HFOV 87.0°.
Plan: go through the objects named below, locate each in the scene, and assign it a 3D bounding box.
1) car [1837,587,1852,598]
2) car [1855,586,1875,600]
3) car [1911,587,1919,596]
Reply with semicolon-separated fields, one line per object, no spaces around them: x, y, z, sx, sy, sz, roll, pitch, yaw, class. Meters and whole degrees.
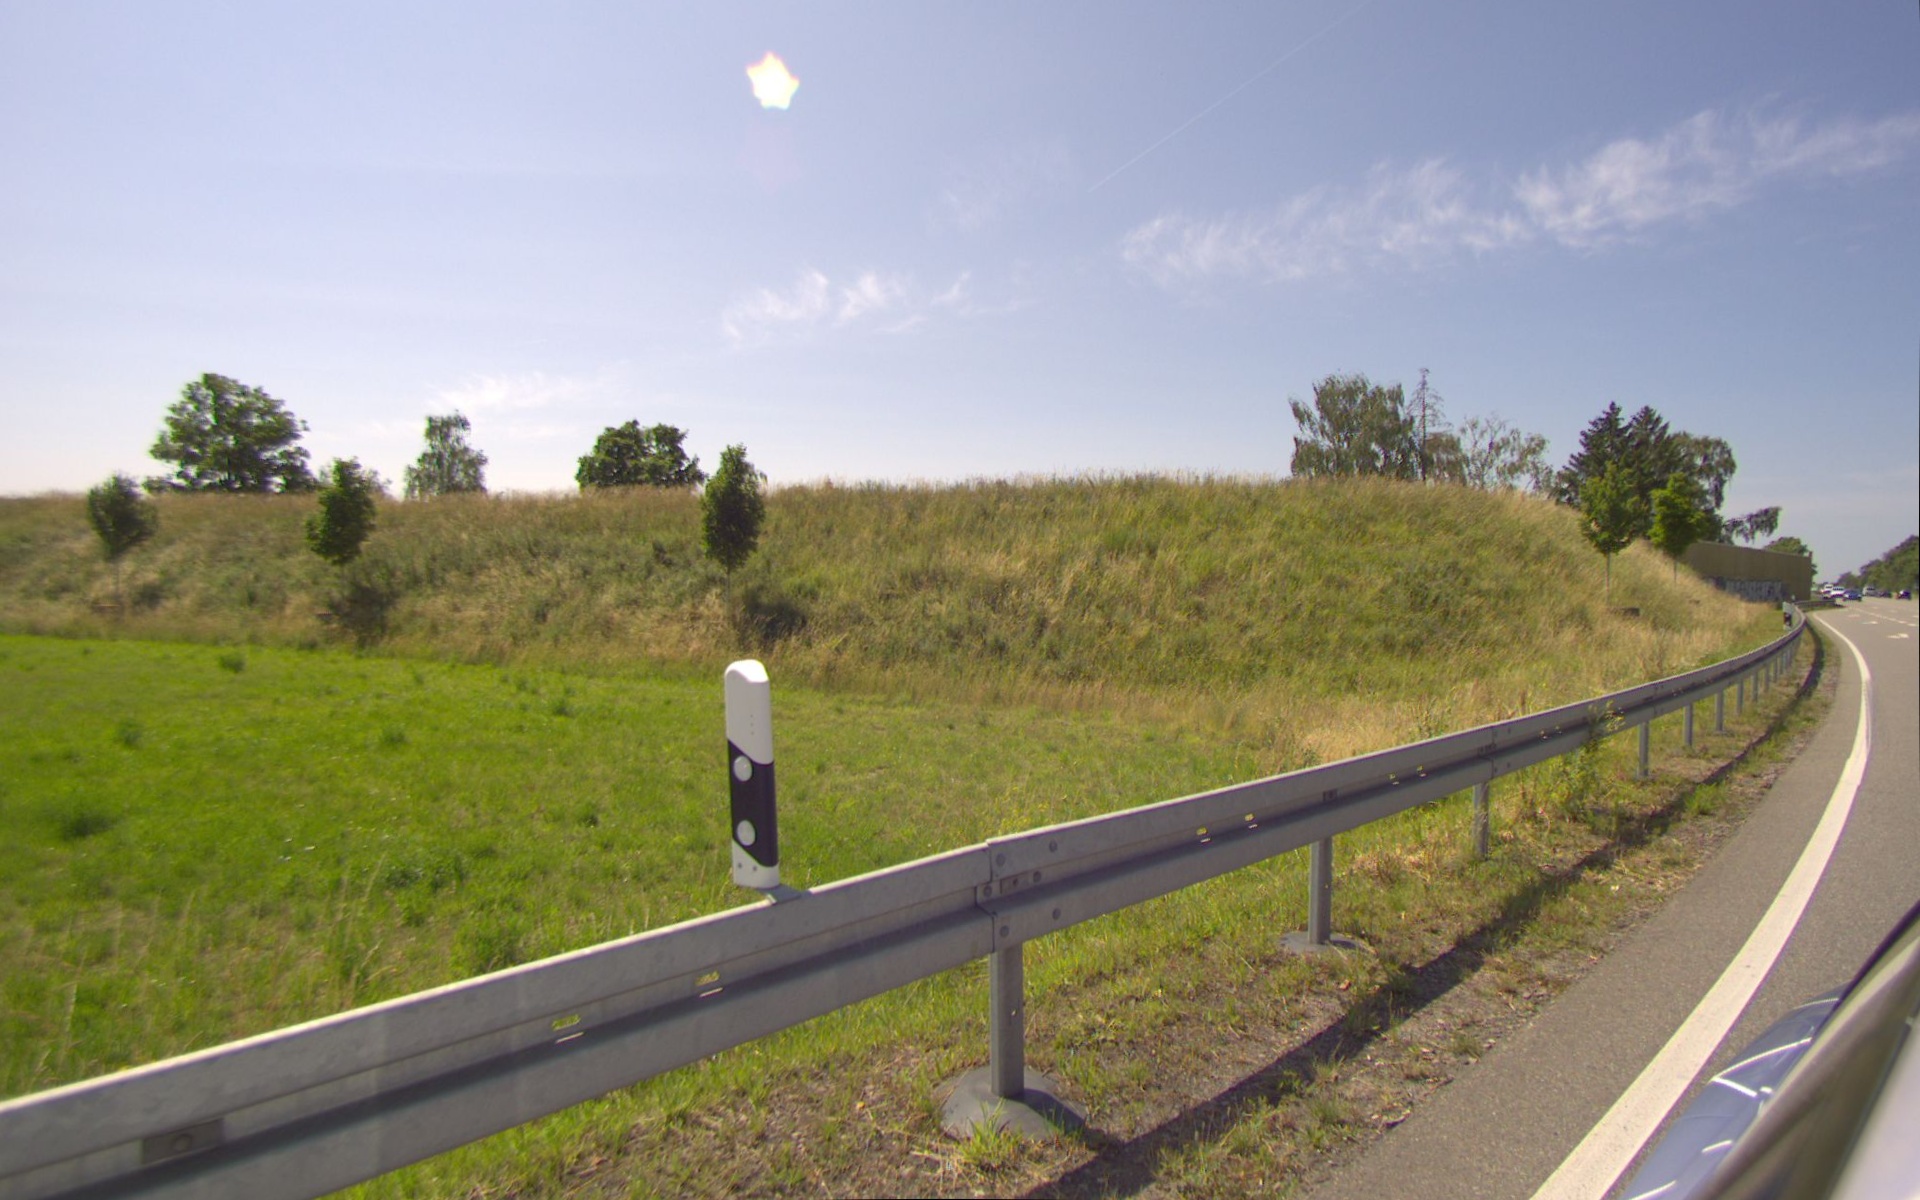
145.029;-1.256;166.020;1.795;1.705;3.941;0;1;41;car
119.304;-0.889;133.435;1.795;1.705;3.941;0;1;41;car
156.882;-1.352;165.615;1.642;1.506;3.509;0;1;39;car
